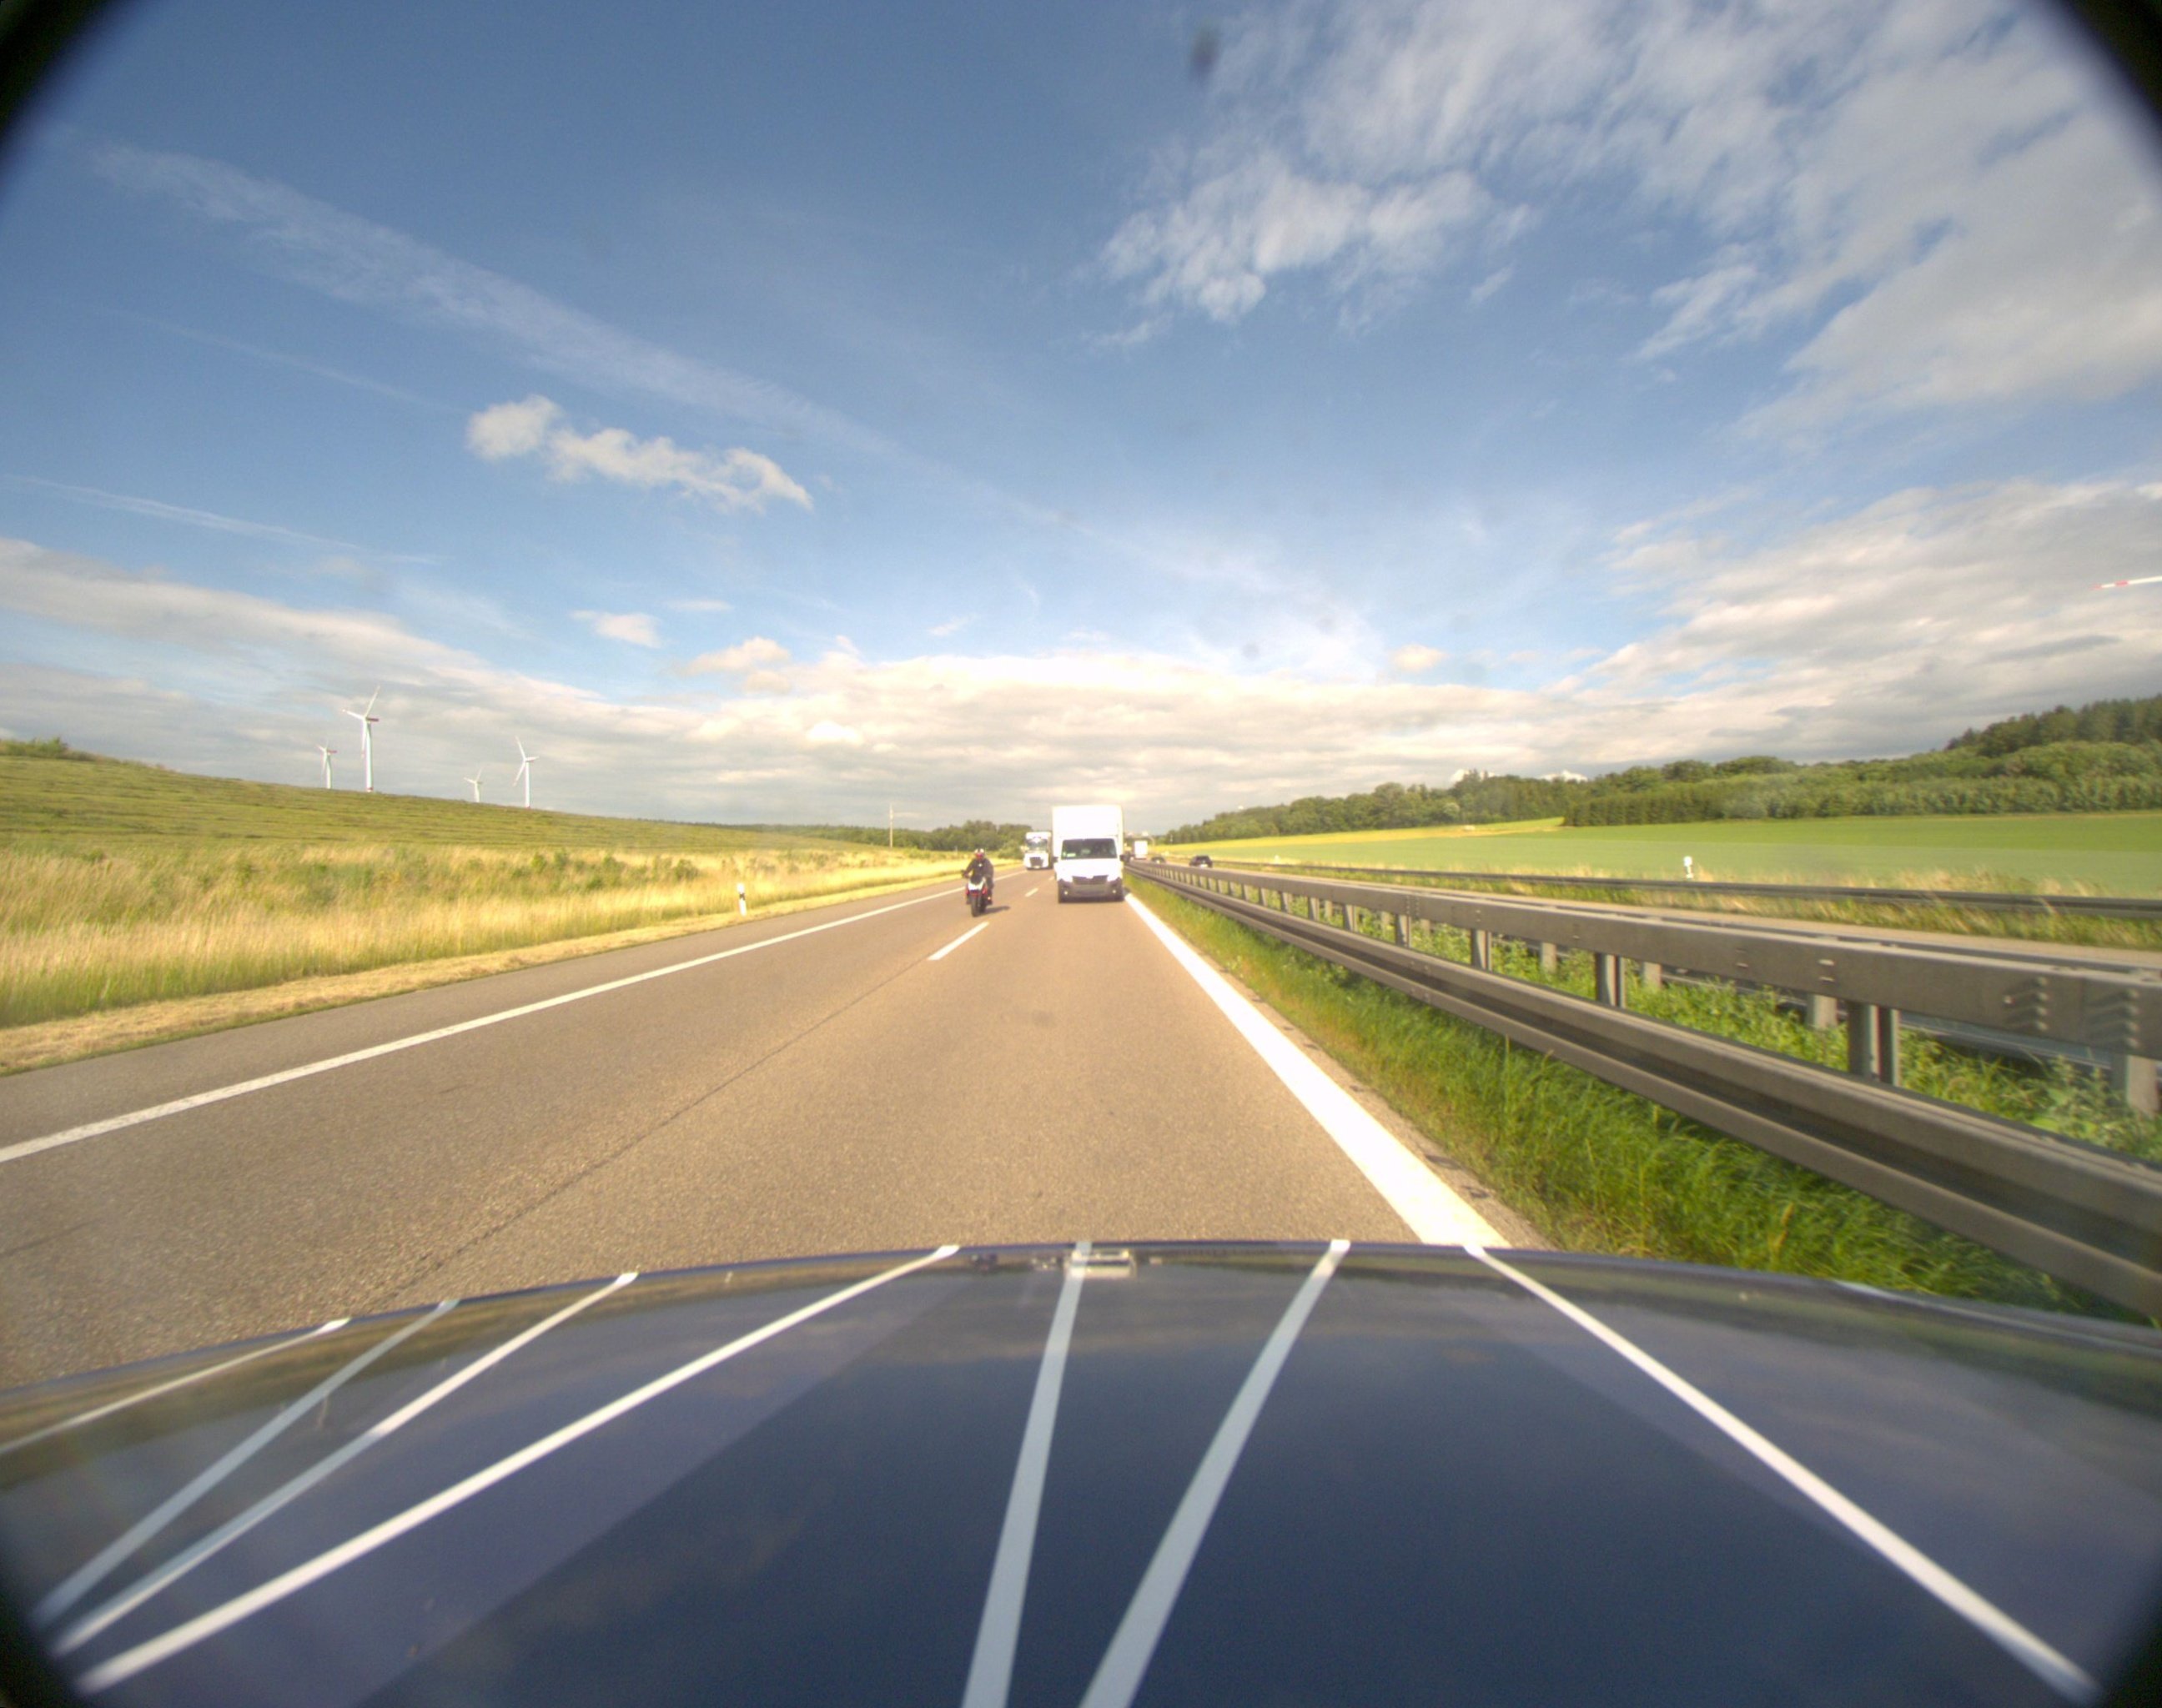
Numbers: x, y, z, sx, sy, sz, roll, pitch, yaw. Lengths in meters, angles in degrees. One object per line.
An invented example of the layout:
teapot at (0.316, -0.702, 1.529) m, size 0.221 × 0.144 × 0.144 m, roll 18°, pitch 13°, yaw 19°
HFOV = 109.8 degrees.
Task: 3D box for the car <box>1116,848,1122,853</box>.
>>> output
car at (12.177, -1.061, 241.144) m, size 1.684 × 1.576 × 4.215 m, roll -2°, pitch 1°, yaw 0°

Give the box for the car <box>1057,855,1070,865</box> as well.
car at (-2.801, 0.888, 121.330) m, size 1.871 × 1.409 × 4.461 m, roll -2°, pitch 1°, yaw 1°

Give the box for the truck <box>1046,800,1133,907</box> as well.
truck at (0.248, -0.008, 28.472) m, size 2.502 × 3.141 × 11.162 m, roll -2°, pitch 0°, yaw 0°

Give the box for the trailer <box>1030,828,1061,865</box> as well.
trailer at (-4.064, -0.860, 90.427) m, size 2.623 × 4.017 × 13.699 m, roll -2°, pitch 0°, yaw 1°

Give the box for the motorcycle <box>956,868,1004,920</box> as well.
motorcycle at (-2.616, 1.012, 19.965) m, size 0.898 × 1.183 × 2.256 m, roll -2°, pitch 1°, yaw 0°

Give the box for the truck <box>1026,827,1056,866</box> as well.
truck at (-4.266, -0.785, 82.759) m, size 2.607 × 4.017 × 6.119 m, roll -3°, pitch 0°, yaw 1°

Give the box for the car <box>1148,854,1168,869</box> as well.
car at (8.021, 0.743, 79.596) m, size 1.619 × 1.384 × 3.999 m, roll -2°, pitch 1°, yaw 0°

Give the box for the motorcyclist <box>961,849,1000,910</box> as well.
motorcyclist at (-2.630, 0.658, 20.002) m, size 0.852 × 1.551 × 0.934 m, roll -2°, pitch 1°, yaw 0°

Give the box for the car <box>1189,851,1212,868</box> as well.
car at (11.560, 0.543, 73.627) m, size 1.619 × 1.512 × 3.999 m, roll -2°, pitch 1°, yaw 0°

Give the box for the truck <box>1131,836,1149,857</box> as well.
truck at (13.368, -1.741, 172.863) m, size 2.887 × 4.608 × 13.421 m, roll -2°, pitch 1°, yaw 1°

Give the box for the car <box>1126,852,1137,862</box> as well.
car at (8.374, 0.443, 126.385) m, size 1.619 × 1.576 × 4.064 m, roll -2°, pitch 1°, yaw 0°
